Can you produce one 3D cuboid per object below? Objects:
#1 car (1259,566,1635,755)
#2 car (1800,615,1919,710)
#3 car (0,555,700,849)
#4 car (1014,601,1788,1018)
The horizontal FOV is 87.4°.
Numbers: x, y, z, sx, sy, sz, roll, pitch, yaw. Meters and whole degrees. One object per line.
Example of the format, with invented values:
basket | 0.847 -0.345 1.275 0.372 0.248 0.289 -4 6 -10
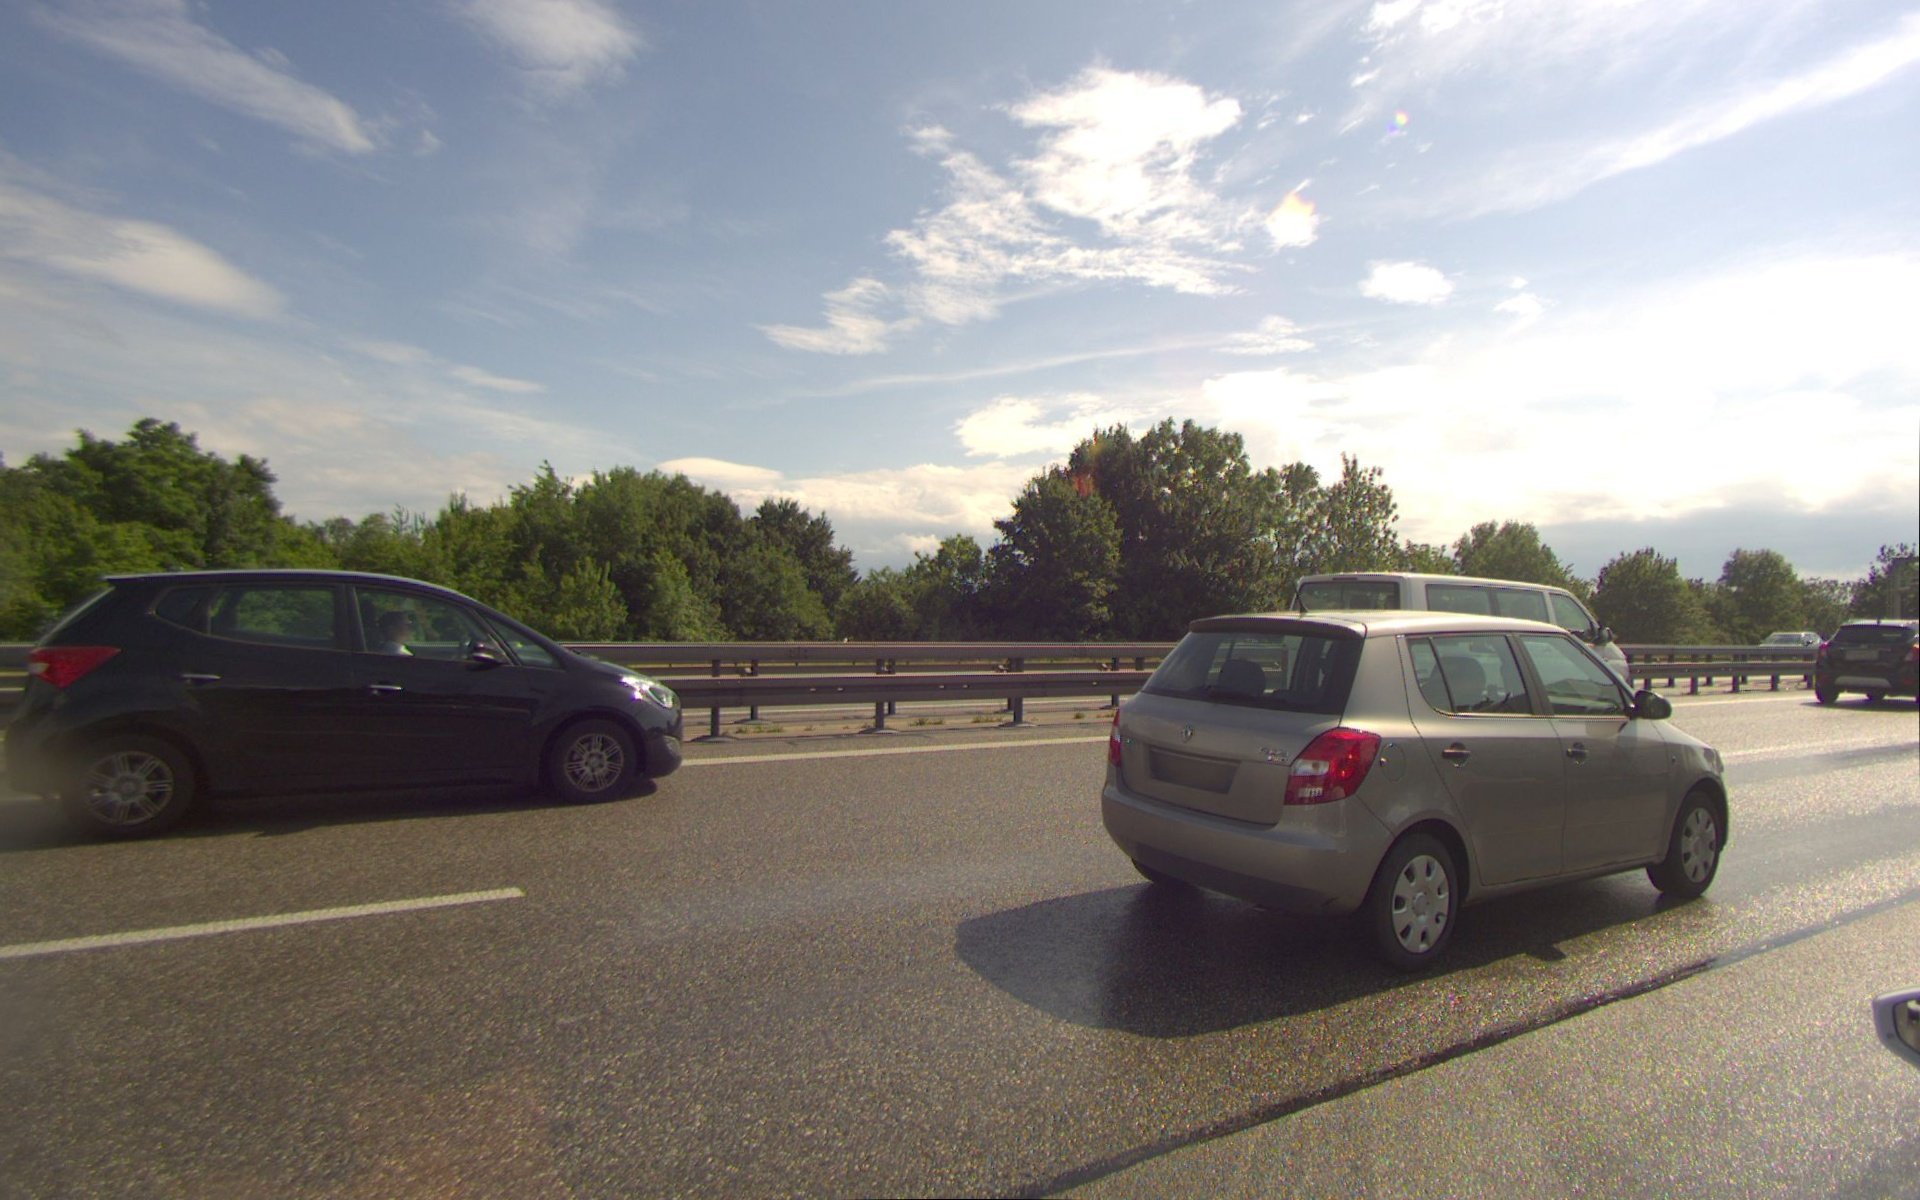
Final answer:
car | 6.151 0.673 12.484 4.960 1.959 1.838 1 0 -32
car | 18.651 1.212 20.110 3.958 1.684 1.761 2 0 -34
car | -4.045 0.593 7.218 3.871 1.599 1.774 1 0 -31
car | 2.411 0.789 5.407 3.781 1.477 1.978 1 0 -30
